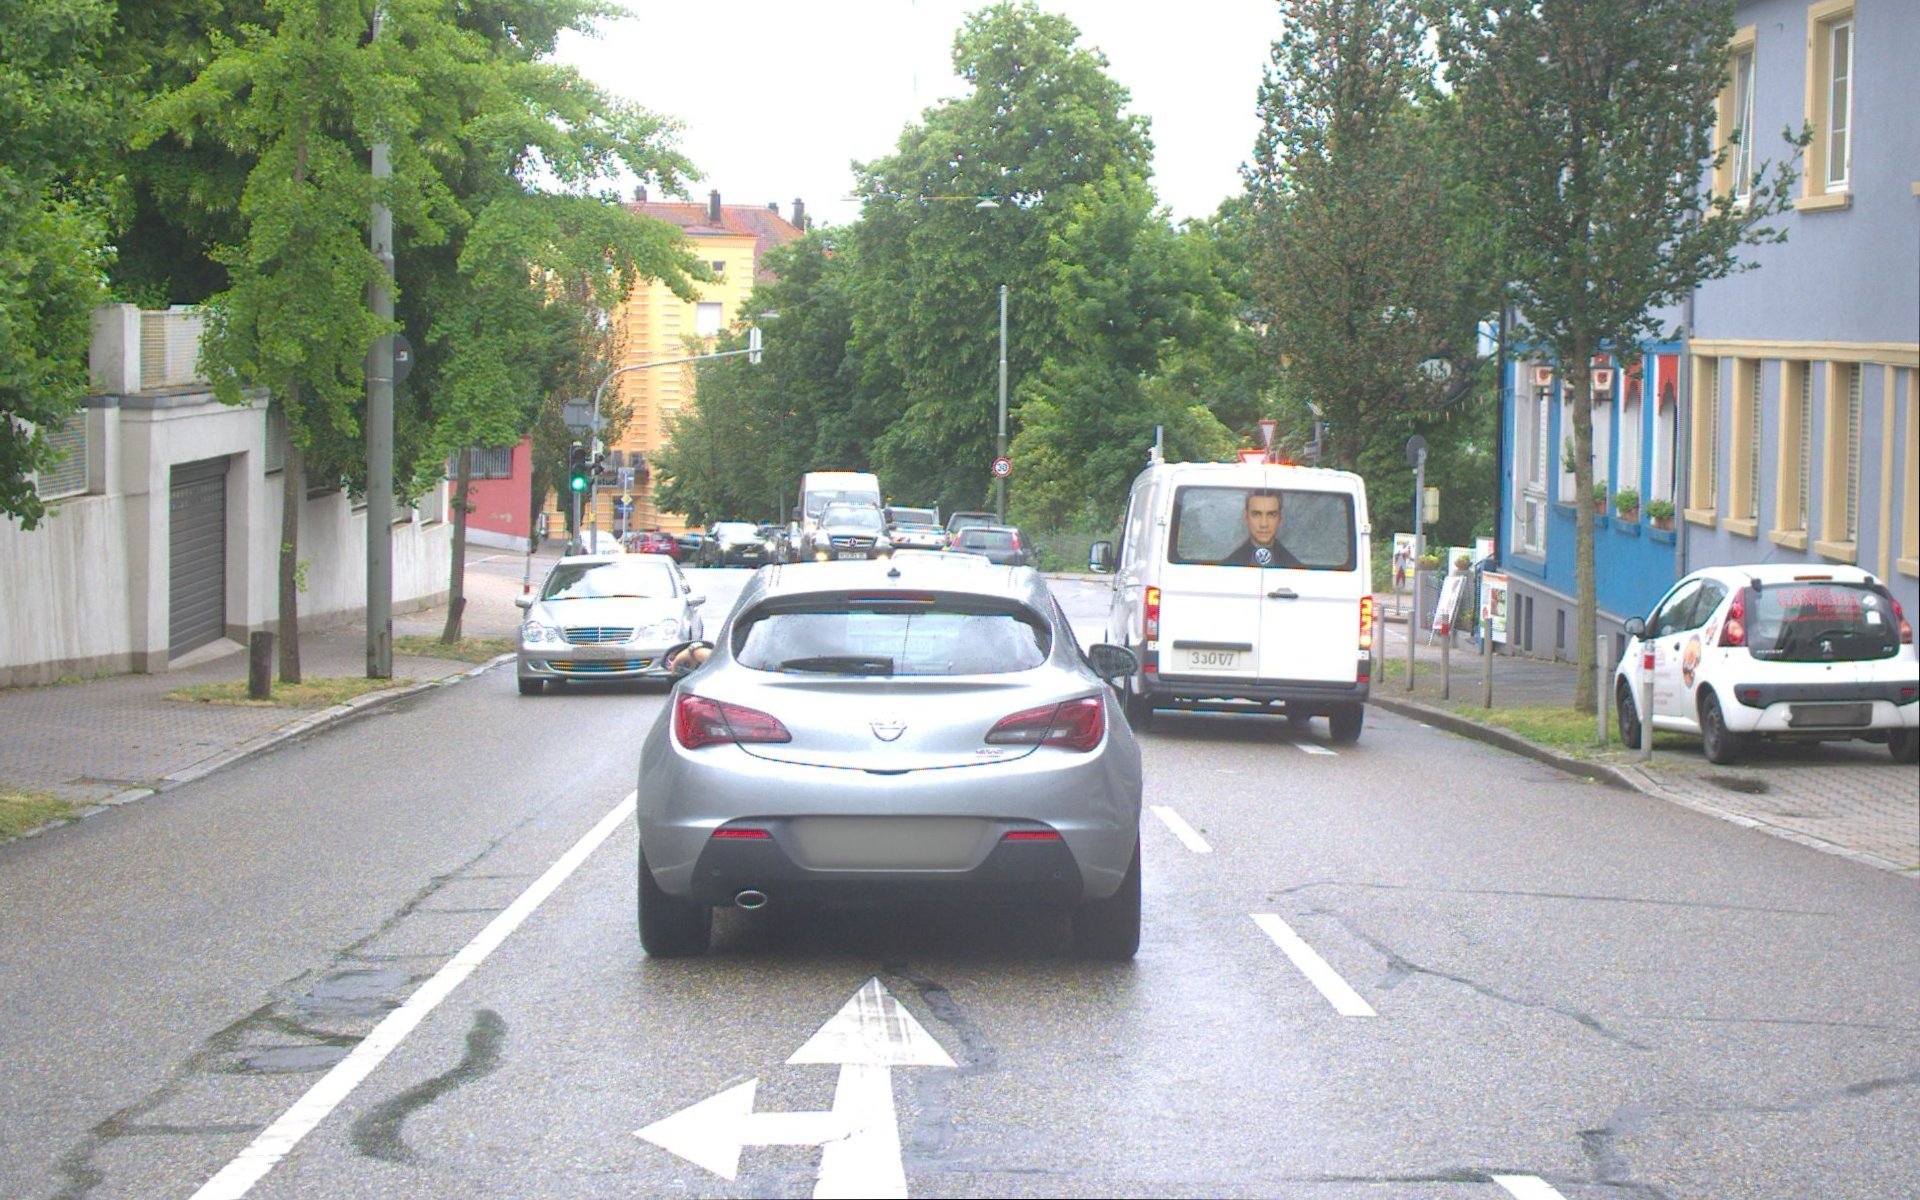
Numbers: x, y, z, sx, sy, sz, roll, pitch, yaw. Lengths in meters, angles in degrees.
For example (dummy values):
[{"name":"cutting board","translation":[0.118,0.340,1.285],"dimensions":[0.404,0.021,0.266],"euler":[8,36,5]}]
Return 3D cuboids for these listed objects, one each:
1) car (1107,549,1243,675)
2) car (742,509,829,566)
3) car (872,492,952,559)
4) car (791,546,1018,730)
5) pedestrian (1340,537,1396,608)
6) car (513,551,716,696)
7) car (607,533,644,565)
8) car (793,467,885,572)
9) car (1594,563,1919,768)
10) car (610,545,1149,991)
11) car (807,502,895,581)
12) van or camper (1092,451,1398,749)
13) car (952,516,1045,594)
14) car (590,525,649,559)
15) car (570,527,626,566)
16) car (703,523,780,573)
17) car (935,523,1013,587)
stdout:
[{"name":"car","translation":[2.524,0.113,40.979],"dimensions":[1.383,1.407,3.457],"euler":[0,1,0]},{"name":"car","translation":[-5.107,-1.817,99.973],"dimensions":[1.874,1.569,4.587],"euler":[1,1,-11]},{"name":"car","translation":[-1.426,-2.177,101.244],"dimensions":[1.781,1.848,4.001],"euler":[2,0,-9]},{"name":"car","translation":[-0.462,0.271,28.905],"dimensions":[1.776,1.425,3.786],"euler":[0,1,-1]},{"name":"pedestrian","translation":[9.276,-0.625,78.121],"dimensions":[0.766,1.600,0.965],"euler":[-2,1,-44]},{"name":"car","translation":[-3.540,0.200,35.857],"dimensions":[1.719,1.380,4.285],"euler":[1,1,-1]},{"name":"car","translation":[-16.857,-2.571,173.293],"dimensions":[1.776,1.425,3.787],"euler":[2,2,-5]},{"name":"car","translation":[-3.089,-2.018,86.982],"dimensions":[2.117,2.537,5.541],"euler":[1,1,-4]},{"name":"car","translation":[6.122,0.452,26.437],"dimensions":[1.586,1.407,3.457],"euler":[-1,1,-5]},{"name":"car","translation":[-0.299,0.549,13.849],"dimensions":[1.815,1.425,4.001],"euler":[2,2,-1]},{"name":"car","translation":[-2.485,-1.343,77.574],"dimensions":[1.821,1.646,4.347],"euler":[2,2,-3]},{"name":"van or camper","translation":[2.427,-0.049,30.695],"dimensions":[2.103,2.318,5.418],"euler":[3,1,-1]},{"name":"car","translation":[0.737,-0.880,68.033],"dimensions":[1.620,1.481,3.436],"euler":[1,0,-3]},{"name":"car","translation":[-16.233,-2.759,163.685],"dimensions":[1.814,1.462,4.001],"euler":[-4,2,-19]},{"name":"car","translation":[-14.560,-2.146,138.201],"dimensions":[1.773,1.492,4.264],"euler":[2,0,-12]},{"name":"car","translation":[-7.271,-1.720,114.010],"dimensions":[1.874,1.569,4.587],"euler":[1,1,-12]},{"name":"car","translation":[0.319,-1.056,81.576],"dimensions":[1.620,1.481,3.436],"euler":[1,0,-3]}]
